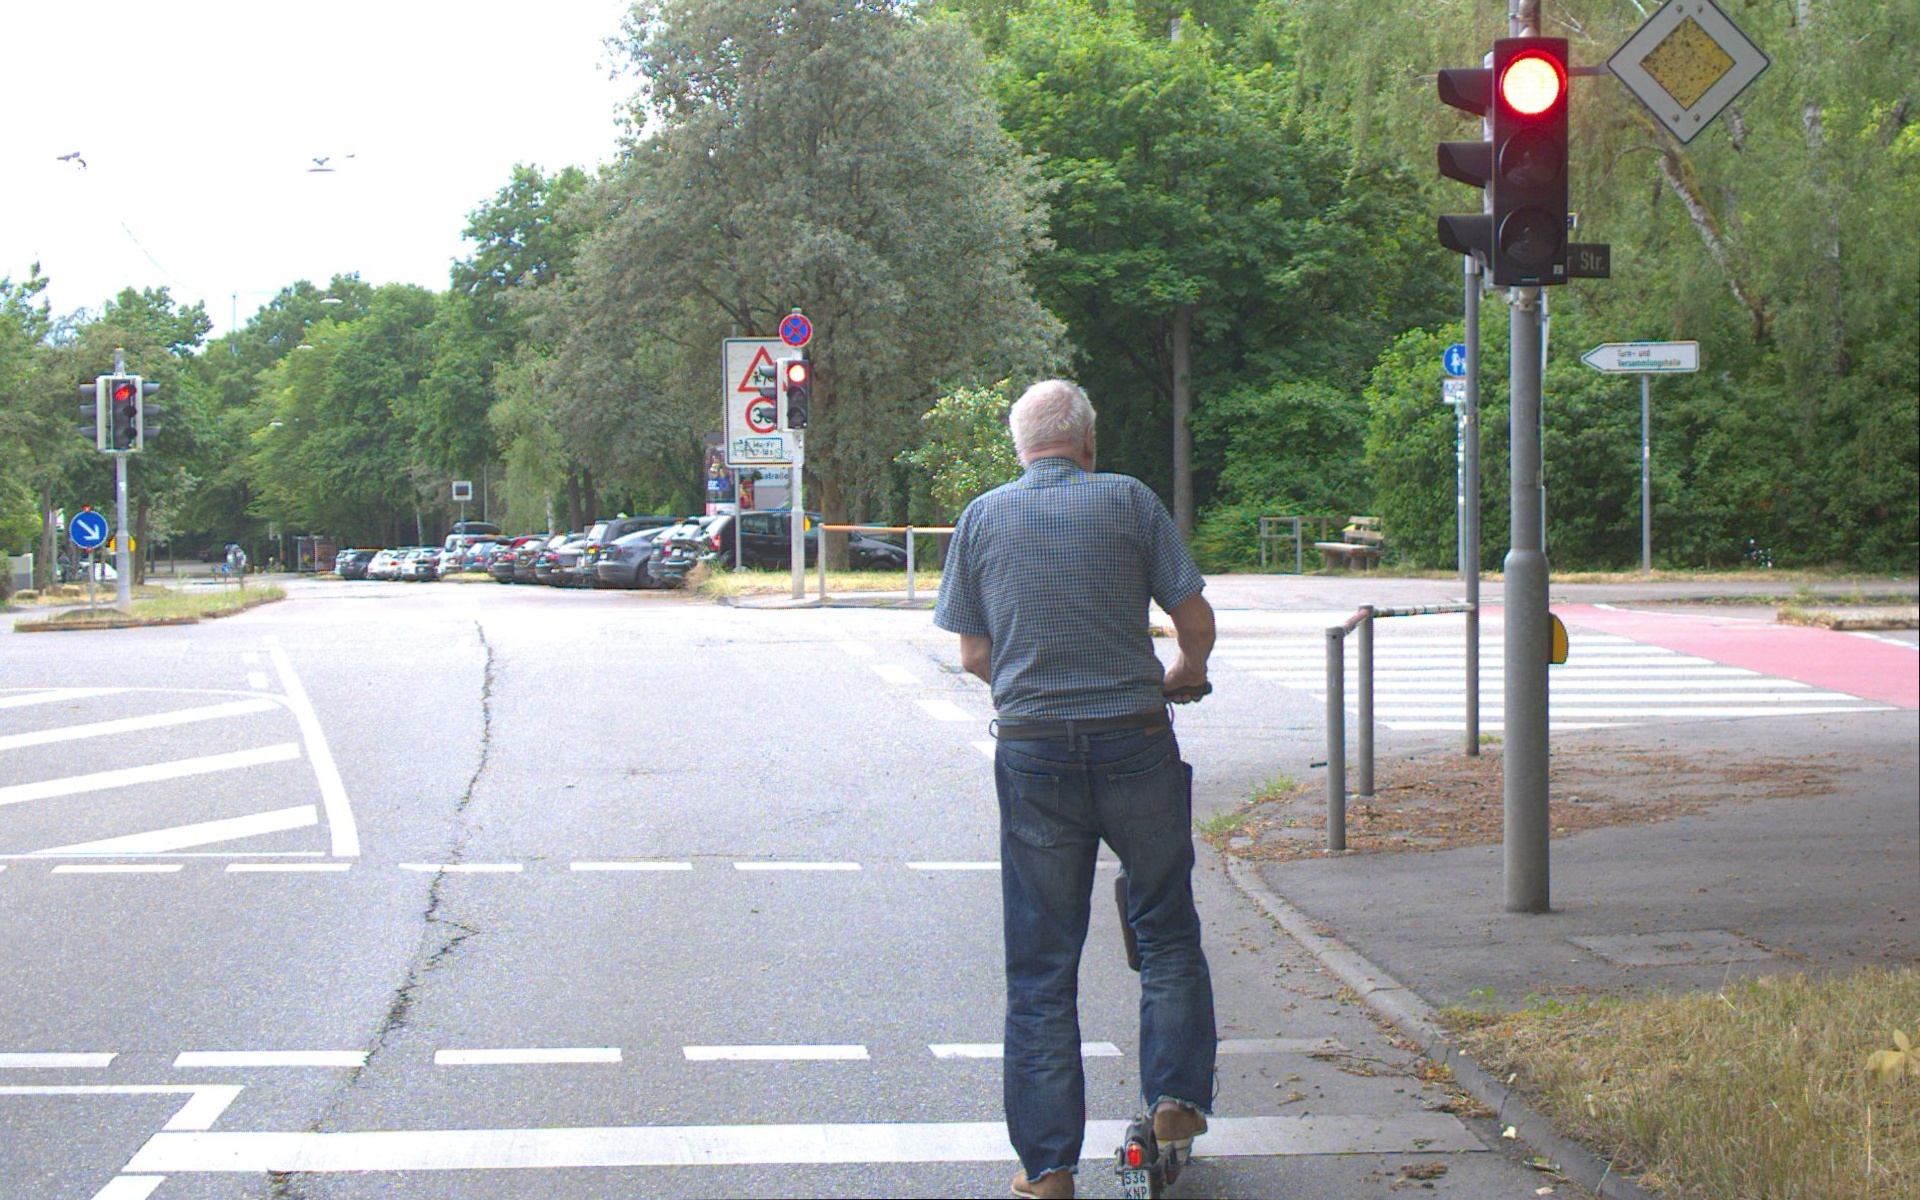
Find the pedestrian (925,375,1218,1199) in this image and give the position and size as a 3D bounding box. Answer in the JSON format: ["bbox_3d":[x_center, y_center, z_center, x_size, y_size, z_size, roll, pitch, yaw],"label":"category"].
[{"bbox_3d":[0.254,0.423,7.567,0.573,1.807,0.420,-1,1,8],"label":"pedestrian"}]

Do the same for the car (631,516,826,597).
[{"bbox_3d":[-5.046,-0.960,74.789,3.840,1.605,1.729,-2,2,-21],"label":"car"}]

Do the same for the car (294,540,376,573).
[{"bbox_3d":[-32.345,-2.261,177.973,3.840,1.605,1.729,-3,2,-23],"label":"car"}]

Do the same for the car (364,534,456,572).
[{"bbox_3d":[-25.387,-2.172,158.773,3.840,1.605,1.729,-3,2,-23],"label":"car"}]

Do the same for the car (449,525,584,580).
[{"bbox_3d":[-14.052,-1.509,108.924,3.840,1.605,1.729,-3,2,-23],"label":"car"}]

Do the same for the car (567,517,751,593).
[{"bbox_3d":[-6.949,-1.043,79.301,3.840,1.605,1.729,-3,2,-23],"label":"car"}]

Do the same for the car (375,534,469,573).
[{"bbox_3d":[-24.445,-2.112,156.203,3.840,1.605,1.729,-3,2,-23],"label":"car"}]

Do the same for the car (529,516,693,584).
[{"bbox_3d":[-9.038,-1.301,89.060,3.840,1.605,1.729,-3,2,-23],"label":"car"}]

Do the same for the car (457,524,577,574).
[{"bbox_3d":[-15.699,-1.819,121.891,3.840,1.605,1.729,-3,2,-23],"label":"car"}]

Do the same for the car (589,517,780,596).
[{"bbox_3d":[-6.147,-0.991,76.760,3.841,1.605,1.728,-3,2,-24],"label":"car"}]

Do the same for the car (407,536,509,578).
[{"bbox_3d":[-20.848,-1.790,142.767,3.840,1.605,1.729,-3,2,-23],"label":"car"}]

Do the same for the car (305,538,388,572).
[{"bbox_3d":[-31.324,-2.289,175.634,3.840,1.605,1.729,-3,2,-23],"label":"car"}]

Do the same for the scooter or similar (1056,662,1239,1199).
[{"bbox_3d":[0.419,0.749,7.396,0.282,1.174,1.177,-1,1,8],"label":"scooter or similar"}]

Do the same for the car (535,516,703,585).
[{"bbox_3d":[-8.598,-1.255,86.648,3.840,1.605,1.729,-3,2,-23],"label":"car"}]

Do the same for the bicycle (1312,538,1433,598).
[{"bbox_3d":[6.907,-0.541,57.594,1.919,0.955,0.494,1,1,-10],"label":"bicycle"}]

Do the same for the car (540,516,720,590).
[{"bbox_3d":[-7.811,-1.122,81.335,3.840,1.605,1.729,-3,2,-23],"label":"car"}]

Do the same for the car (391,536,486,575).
[{"bbox_3d":[-23.370,-2.014,154.071,3.840,1.605,1.729,-3,2,-23],"label":"car"}]

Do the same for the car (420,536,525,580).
[{"bbox_3d":[-19.744,-1.710,139.092,3.840,1.605,1.729,-3,2,-23],"label":"car"}]
